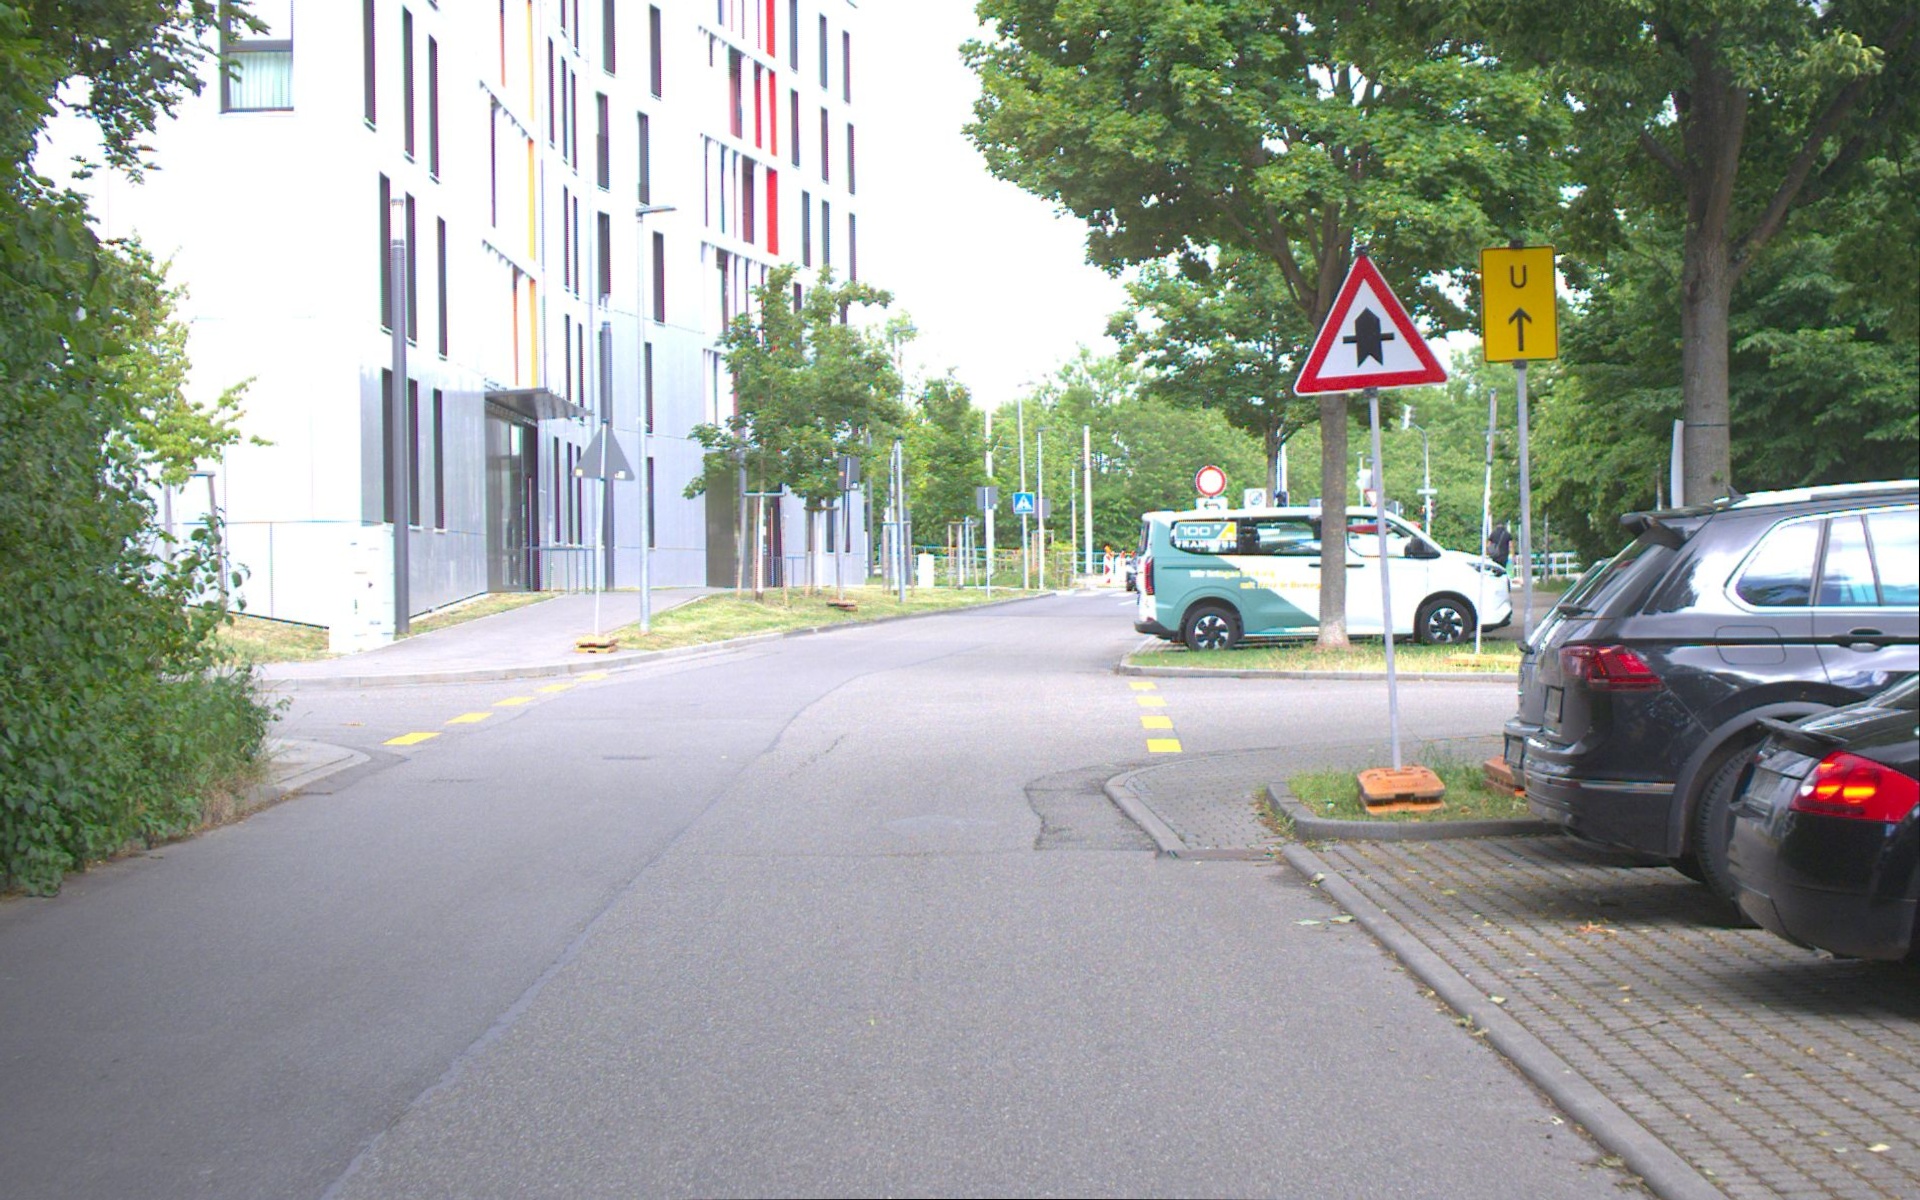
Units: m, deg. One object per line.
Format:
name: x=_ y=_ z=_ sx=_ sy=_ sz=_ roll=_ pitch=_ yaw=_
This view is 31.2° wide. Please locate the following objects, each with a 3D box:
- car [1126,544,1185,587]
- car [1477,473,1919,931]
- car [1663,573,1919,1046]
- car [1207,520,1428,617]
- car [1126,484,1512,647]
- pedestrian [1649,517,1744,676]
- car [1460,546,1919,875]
car: x=6.498 y=-1.163 z=113.775 sx=1.609 sy=1.383 sz=3.999 roll=1 pitch=1 yaw=8
car: x=4.225 y=0.326 z=13.561 sx=4.124 sy=1.644 sz=1.980 roll=-2 pitch=0 yaw=4
car: x=4.304 y=0.557 z=10.848 sx=3.832 sy=1.354 sz=1.822 roll=-2 pitch=0 yaw=4
car: x=7.222 y=-0.652 z=69.600 sx=4.379 sy=1.897 sz=1.936 roll=0 pitch=1 yaw=5
car: x=4.777 y=-0.465 z=46.305 sx=4.972 sy=1.965 sz=1.847 roll=-2 pitch=1 yaw=1
pedestrian: x=7.364 y=-0.037 z=34.408 sx=0.834 sy=1.571 sz=0.809 roll=0 pitch=1 yaw=6
car: x=4.398 y=0.451 z=16.130 sx=3.832 sy=1.398 sz=1.852 roll=-2 pitch=0 yaw=2
